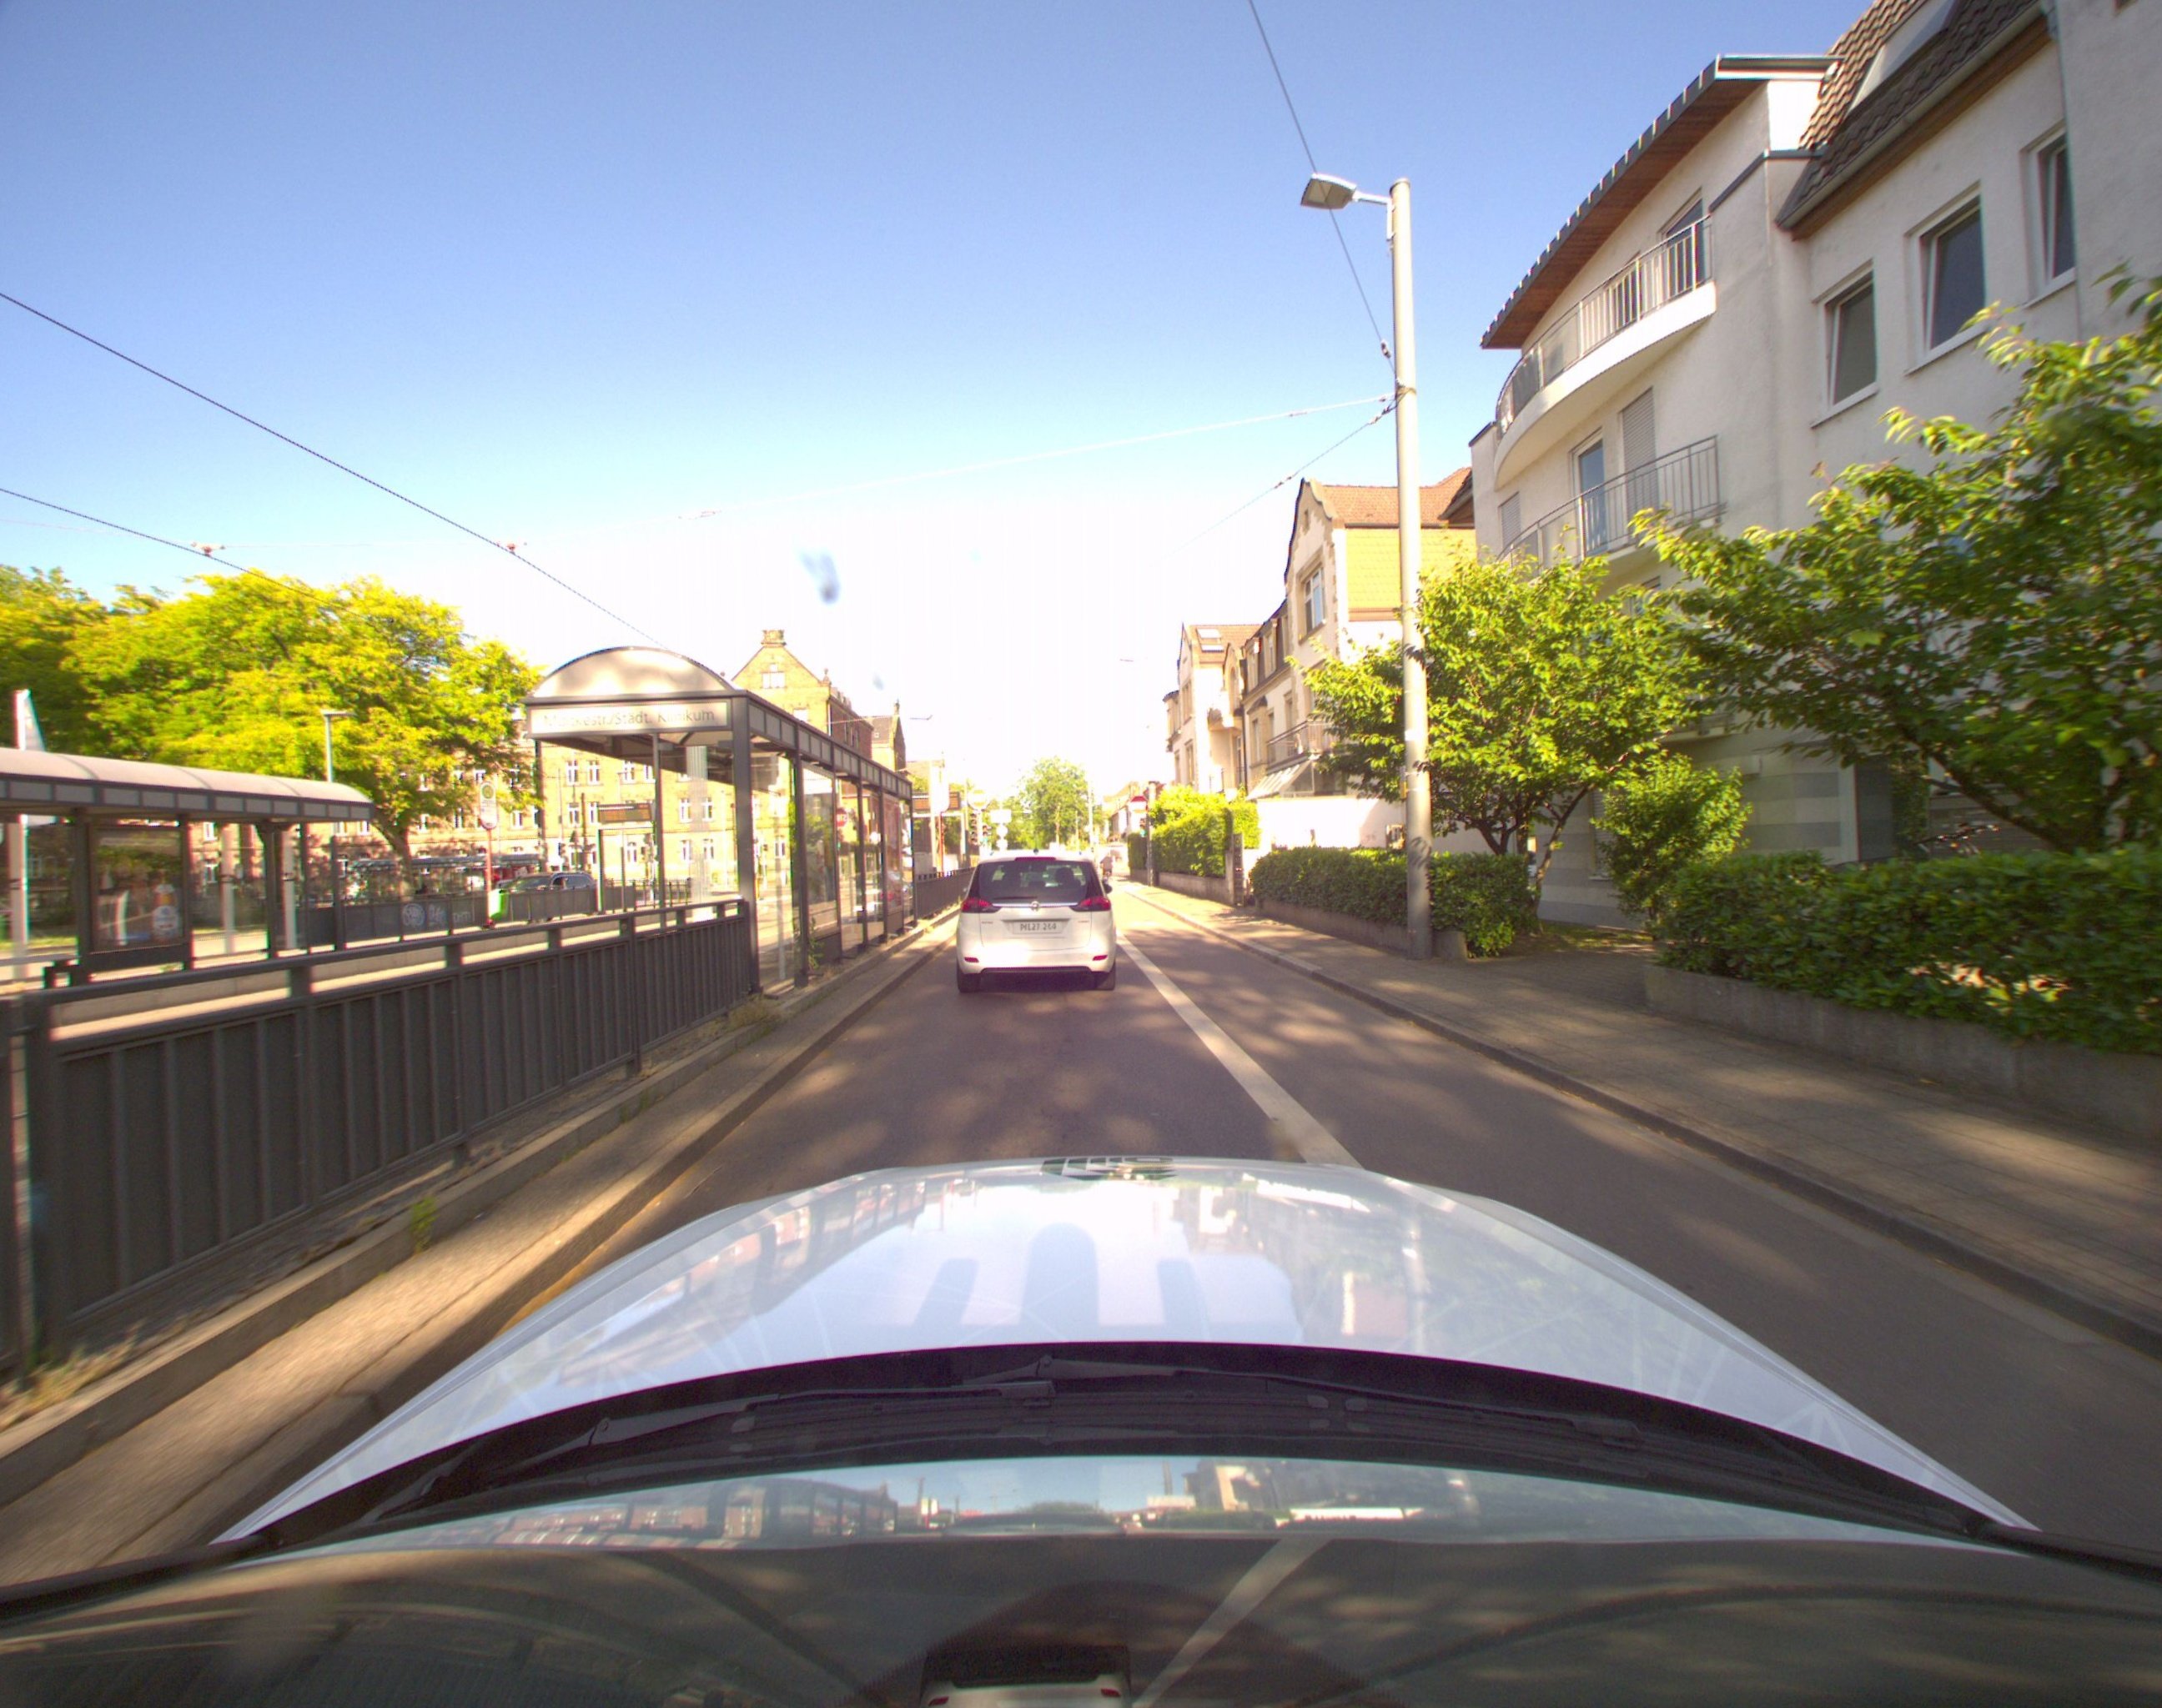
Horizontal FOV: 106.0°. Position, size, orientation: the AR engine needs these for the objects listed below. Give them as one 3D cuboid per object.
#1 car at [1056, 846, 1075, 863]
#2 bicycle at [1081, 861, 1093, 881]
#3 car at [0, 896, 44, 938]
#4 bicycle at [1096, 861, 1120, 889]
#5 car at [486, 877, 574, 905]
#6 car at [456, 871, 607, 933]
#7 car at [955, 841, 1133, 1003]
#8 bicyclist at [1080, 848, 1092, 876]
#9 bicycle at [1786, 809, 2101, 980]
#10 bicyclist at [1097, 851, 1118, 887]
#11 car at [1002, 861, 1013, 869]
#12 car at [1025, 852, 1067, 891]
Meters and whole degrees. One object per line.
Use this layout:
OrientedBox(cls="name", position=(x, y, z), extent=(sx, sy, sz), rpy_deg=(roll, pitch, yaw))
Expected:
OrientedBox(cls="car", position=(-1.498, 0.055, 79.856), extent=(1.770, 1.632, 3.880), rpy_deg=(-2, -1, 0))
OrientedBox(cls="bicycle", position=(0.336, 1.040, 48.973), extent=(0.683, 1.157, 1.619), rpy_deg=(-2, -1, 0))
OrientedBox(cls="car", position=(-67.941, 3.930, 50.109), extent=(5.018, 2.453, 2.258), rpy_deg=(-2, -1, -4))
OrientedBox(cls="bicycle", position=(1.164, 0.885, 35.559), extent=(0.827, 1.154, 2.092), rpy_deg=(-2, -1, -3))
OrientedBox(cls="car", position=(-33.534, 2.220, 49.651), extent=(4.052, 1.522, 1.877), rpy_deg=(-2, -1, -1))
OrientedBox(cls="car", position=(-17.583, 1.482, 26.360), extent=(1.900, 1.677, 4.357), rpy_deg=(-2, 0, 0))
OrientedBox(cls="car", position=(-0.439, 0.730, 10.554), extent=(1.830, 1.642, 3.916), rpy_deg=(-2, -1, -2))
OrientedBox(cls="bicyclist", position=(0.318, 0.477, 48.874), extent=(0.683, 1.634, 1.015), rpy_deg=(-2, -1, 0))
OrientedBox(cls="bicycle", position=(7.396, 0.327, 7.049), extent=(1.837, 1.203, 0.824), rpy_deg=(-6, 0, -4))
OrientedBox(cls="bicyclist", position=(1.160, 0.651, 35.563), extent=(0.819, 1.501, 0.933), rpy_deg=(-2, -1, -3))
OrientedBox(cls="car", position=(-13.199, 1.999, 145.486), extent=(1.576, 1.441, 3.583), rpy_deg=(-2, -1, 0))
OrientedBox(cls="car", position=(-1.564, 0.777, 37.195), extent=(1.771, 1.632, 3.877), rpy_deg=(-2, -1, -2))
